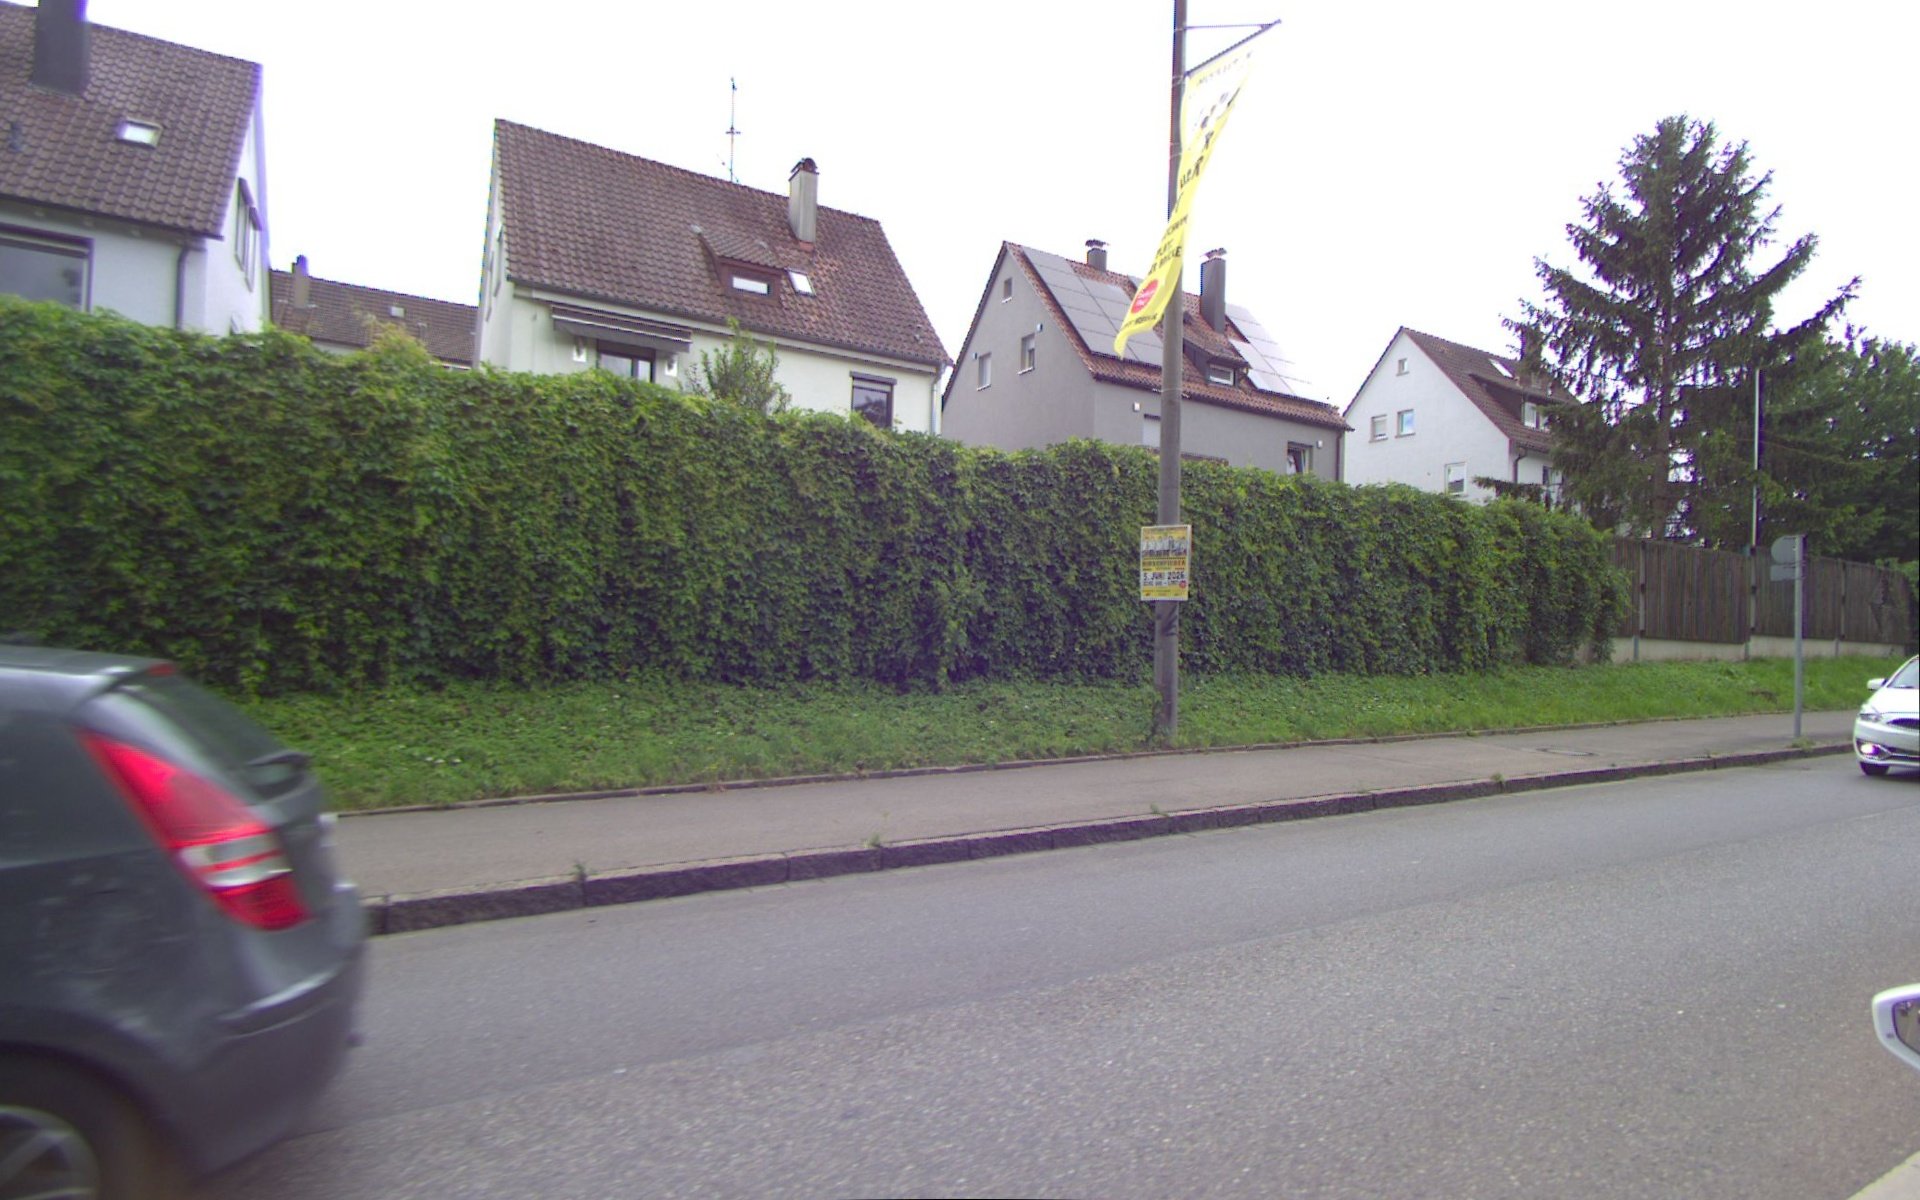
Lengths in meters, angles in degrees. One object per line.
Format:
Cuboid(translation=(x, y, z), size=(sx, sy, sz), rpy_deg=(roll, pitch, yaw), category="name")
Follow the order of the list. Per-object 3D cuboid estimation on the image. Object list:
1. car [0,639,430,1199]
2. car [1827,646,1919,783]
Cuboid(translation=(-3.470, 0.829, 2.108), size=(4.105, 1.483, 1.720), rpy_deg=(1, -3, -30), category="car")
Cuboid(translation=(12.152, 1.279, 11.836), size=(4.023, 1.480, 1.611), rpy_deg=(1, -4, -29), category="car")
